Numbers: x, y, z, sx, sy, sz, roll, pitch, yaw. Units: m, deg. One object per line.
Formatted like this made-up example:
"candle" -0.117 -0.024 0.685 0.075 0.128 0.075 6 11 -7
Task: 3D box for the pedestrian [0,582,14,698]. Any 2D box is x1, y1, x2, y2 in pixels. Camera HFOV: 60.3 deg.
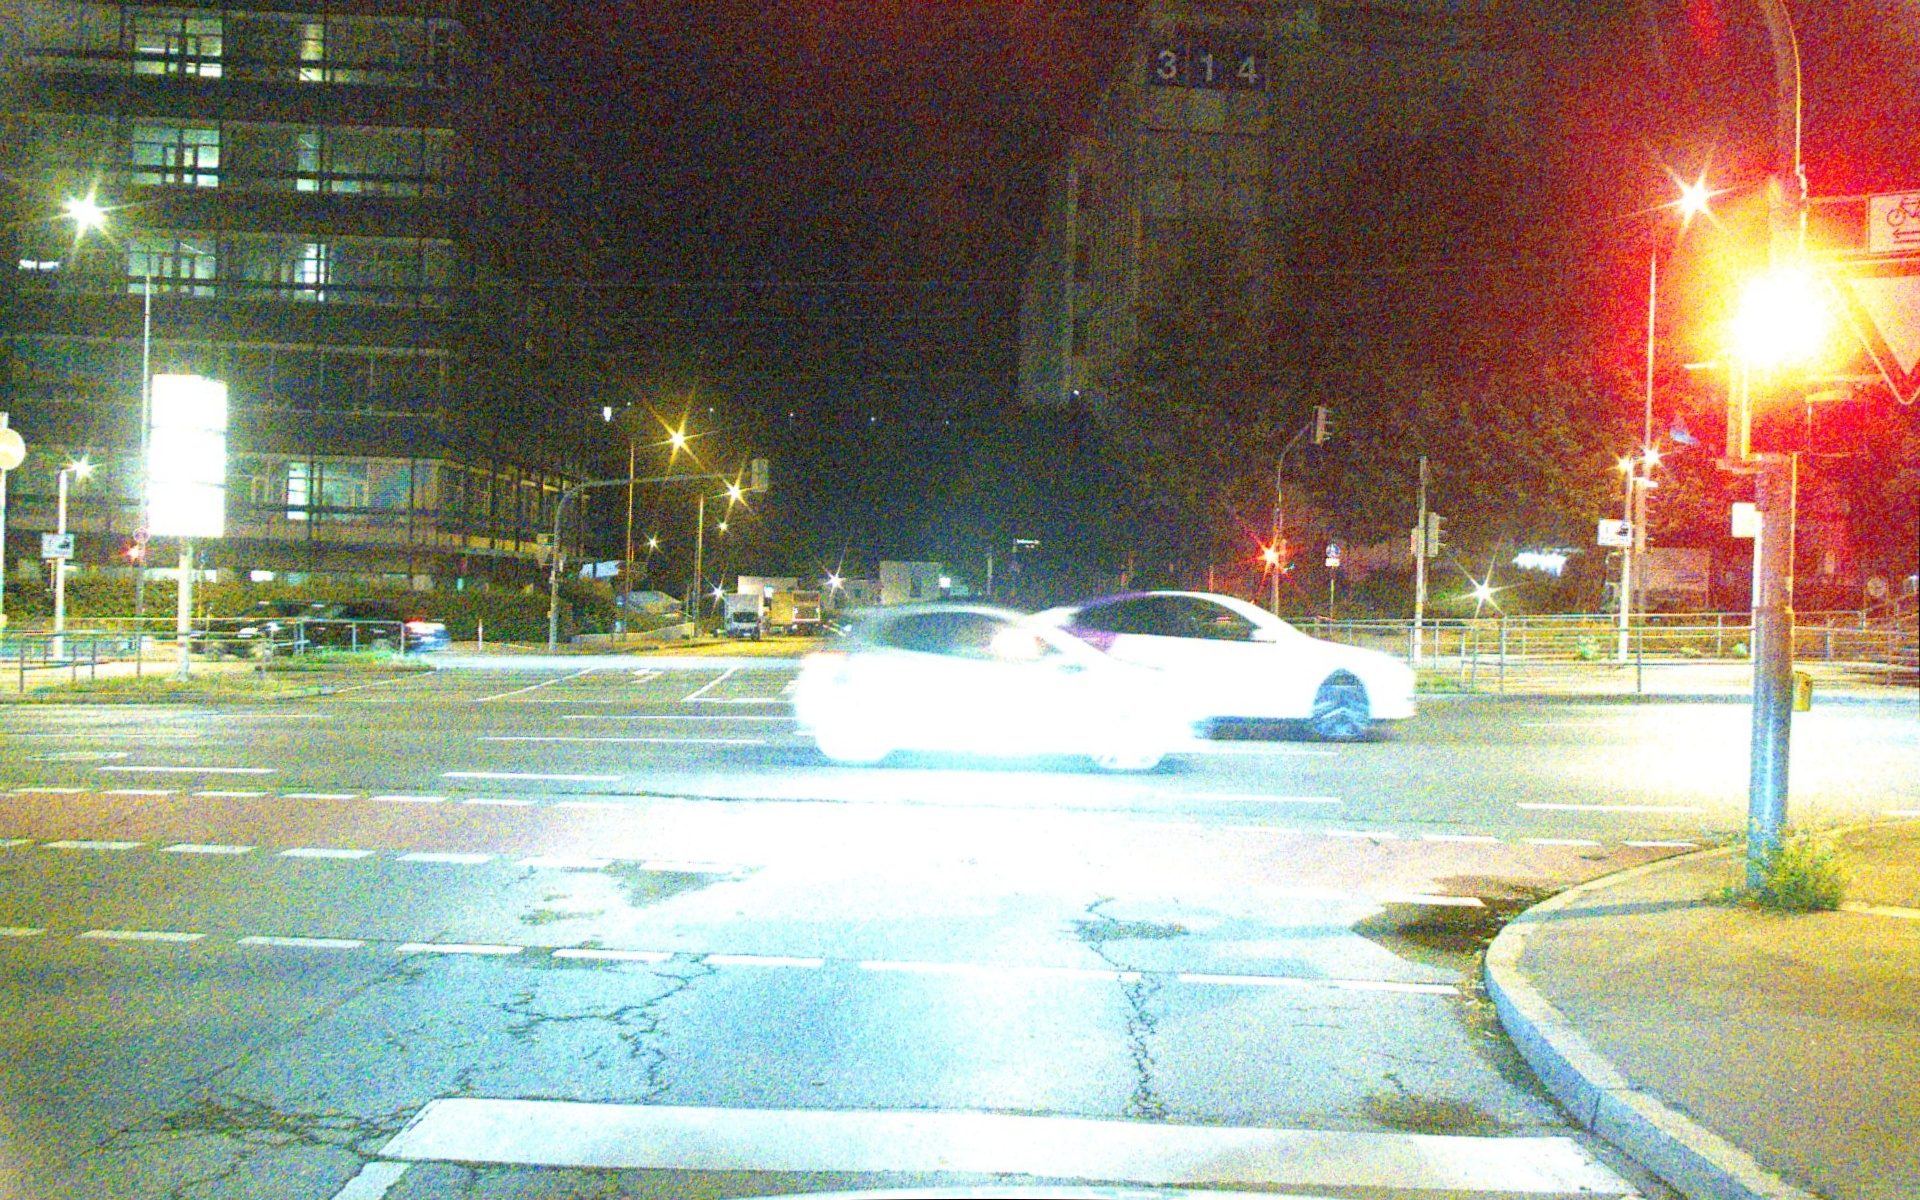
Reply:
"pedestrian" -14.857 0.594 24.962 0.663 1.752 0.706 1 -1 24

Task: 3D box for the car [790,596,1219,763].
"car" 0.431 0.704 15.619 3.820 1.462 1.745 0 1 2

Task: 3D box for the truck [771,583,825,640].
"truck" -14.620 1.038 148.610 3.307 4.927 7.868 2 -1 -17

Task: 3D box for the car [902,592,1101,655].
"car" 1.020 0.561 40.285 4.718 1.445 1.851 -1 0 3

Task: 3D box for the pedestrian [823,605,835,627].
"pedestrian" -11.681 1.420 147.382 0.836 1.945 1.001 2 -1 -18

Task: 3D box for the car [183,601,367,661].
"car" -16.835 0.755 40.769 3.790 1.429 1.769 -1 0 3

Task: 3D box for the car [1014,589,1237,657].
"car" 3.645 0.510 37.030 4.838 1.445 1.851 -1 0 3

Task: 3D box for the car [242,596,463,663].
"car" -13.832 0.661 37.804 4.335 1.445 1.851 -1 0 3

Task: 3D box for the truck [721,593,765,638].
"truck" -15.726 1.114 119.453 2.377 3.143 6.414 2 -1 -14

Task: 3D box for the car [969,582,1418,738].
"car" 2.562 0.642 18.800 4.818 1.626 1.745 -1 1 2
